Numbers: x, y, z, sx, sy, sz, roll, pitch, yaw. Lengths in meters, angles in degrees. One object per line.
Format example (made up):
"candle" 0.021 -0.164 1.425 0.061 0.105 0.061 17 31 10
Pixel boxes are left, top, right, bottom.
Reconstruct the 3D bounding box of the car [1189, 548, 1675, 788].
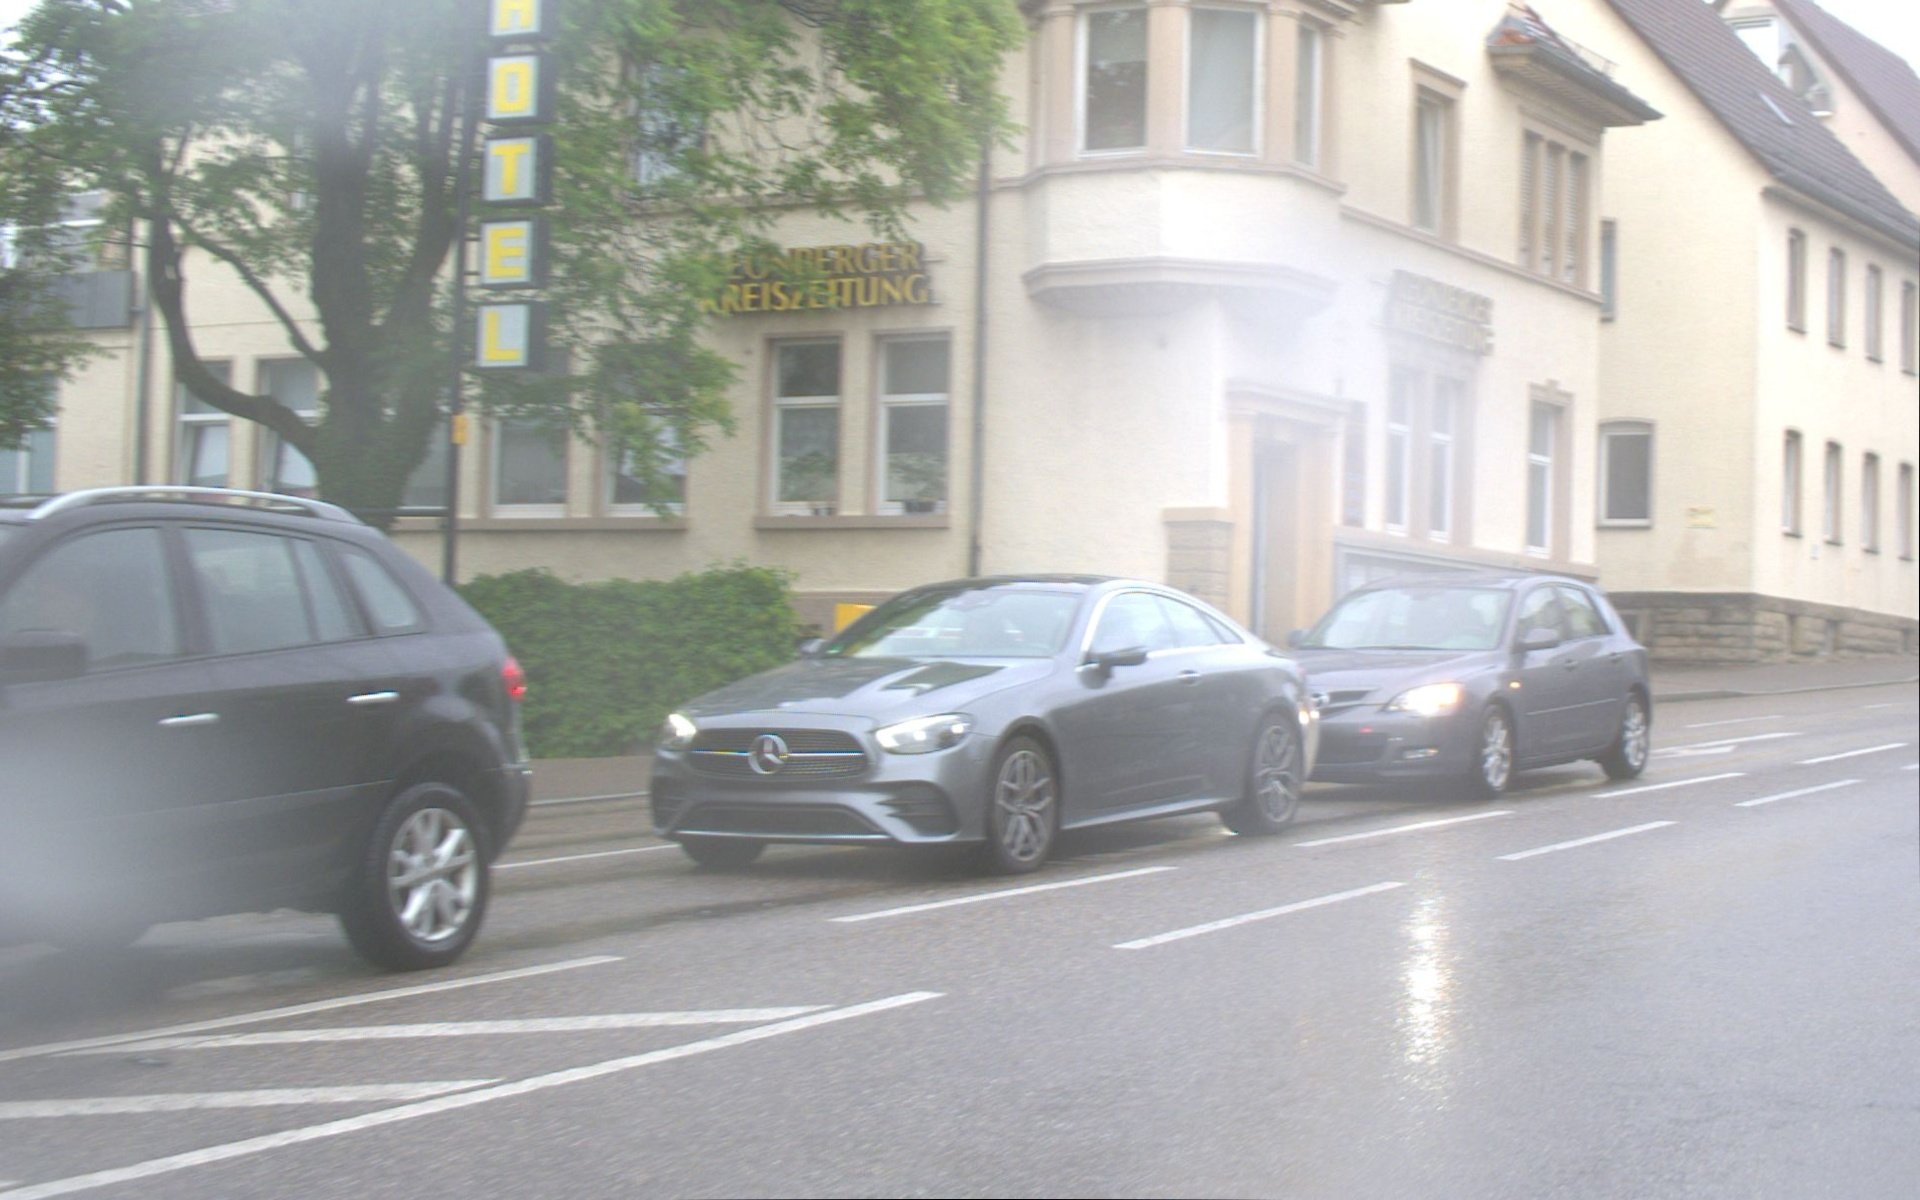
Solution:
"car" 3.256 0.422 23.023 1.776 1.447 4.179 -1 0 30

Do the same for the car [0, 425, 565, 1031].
"car" -3.307 0.390 11.294 1.776 1.809 4.308 -1 0 30

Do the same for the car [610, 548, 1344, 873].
"car" 0.249 0.501 17.728 1.776 1.447 4.532 -1 0 30
